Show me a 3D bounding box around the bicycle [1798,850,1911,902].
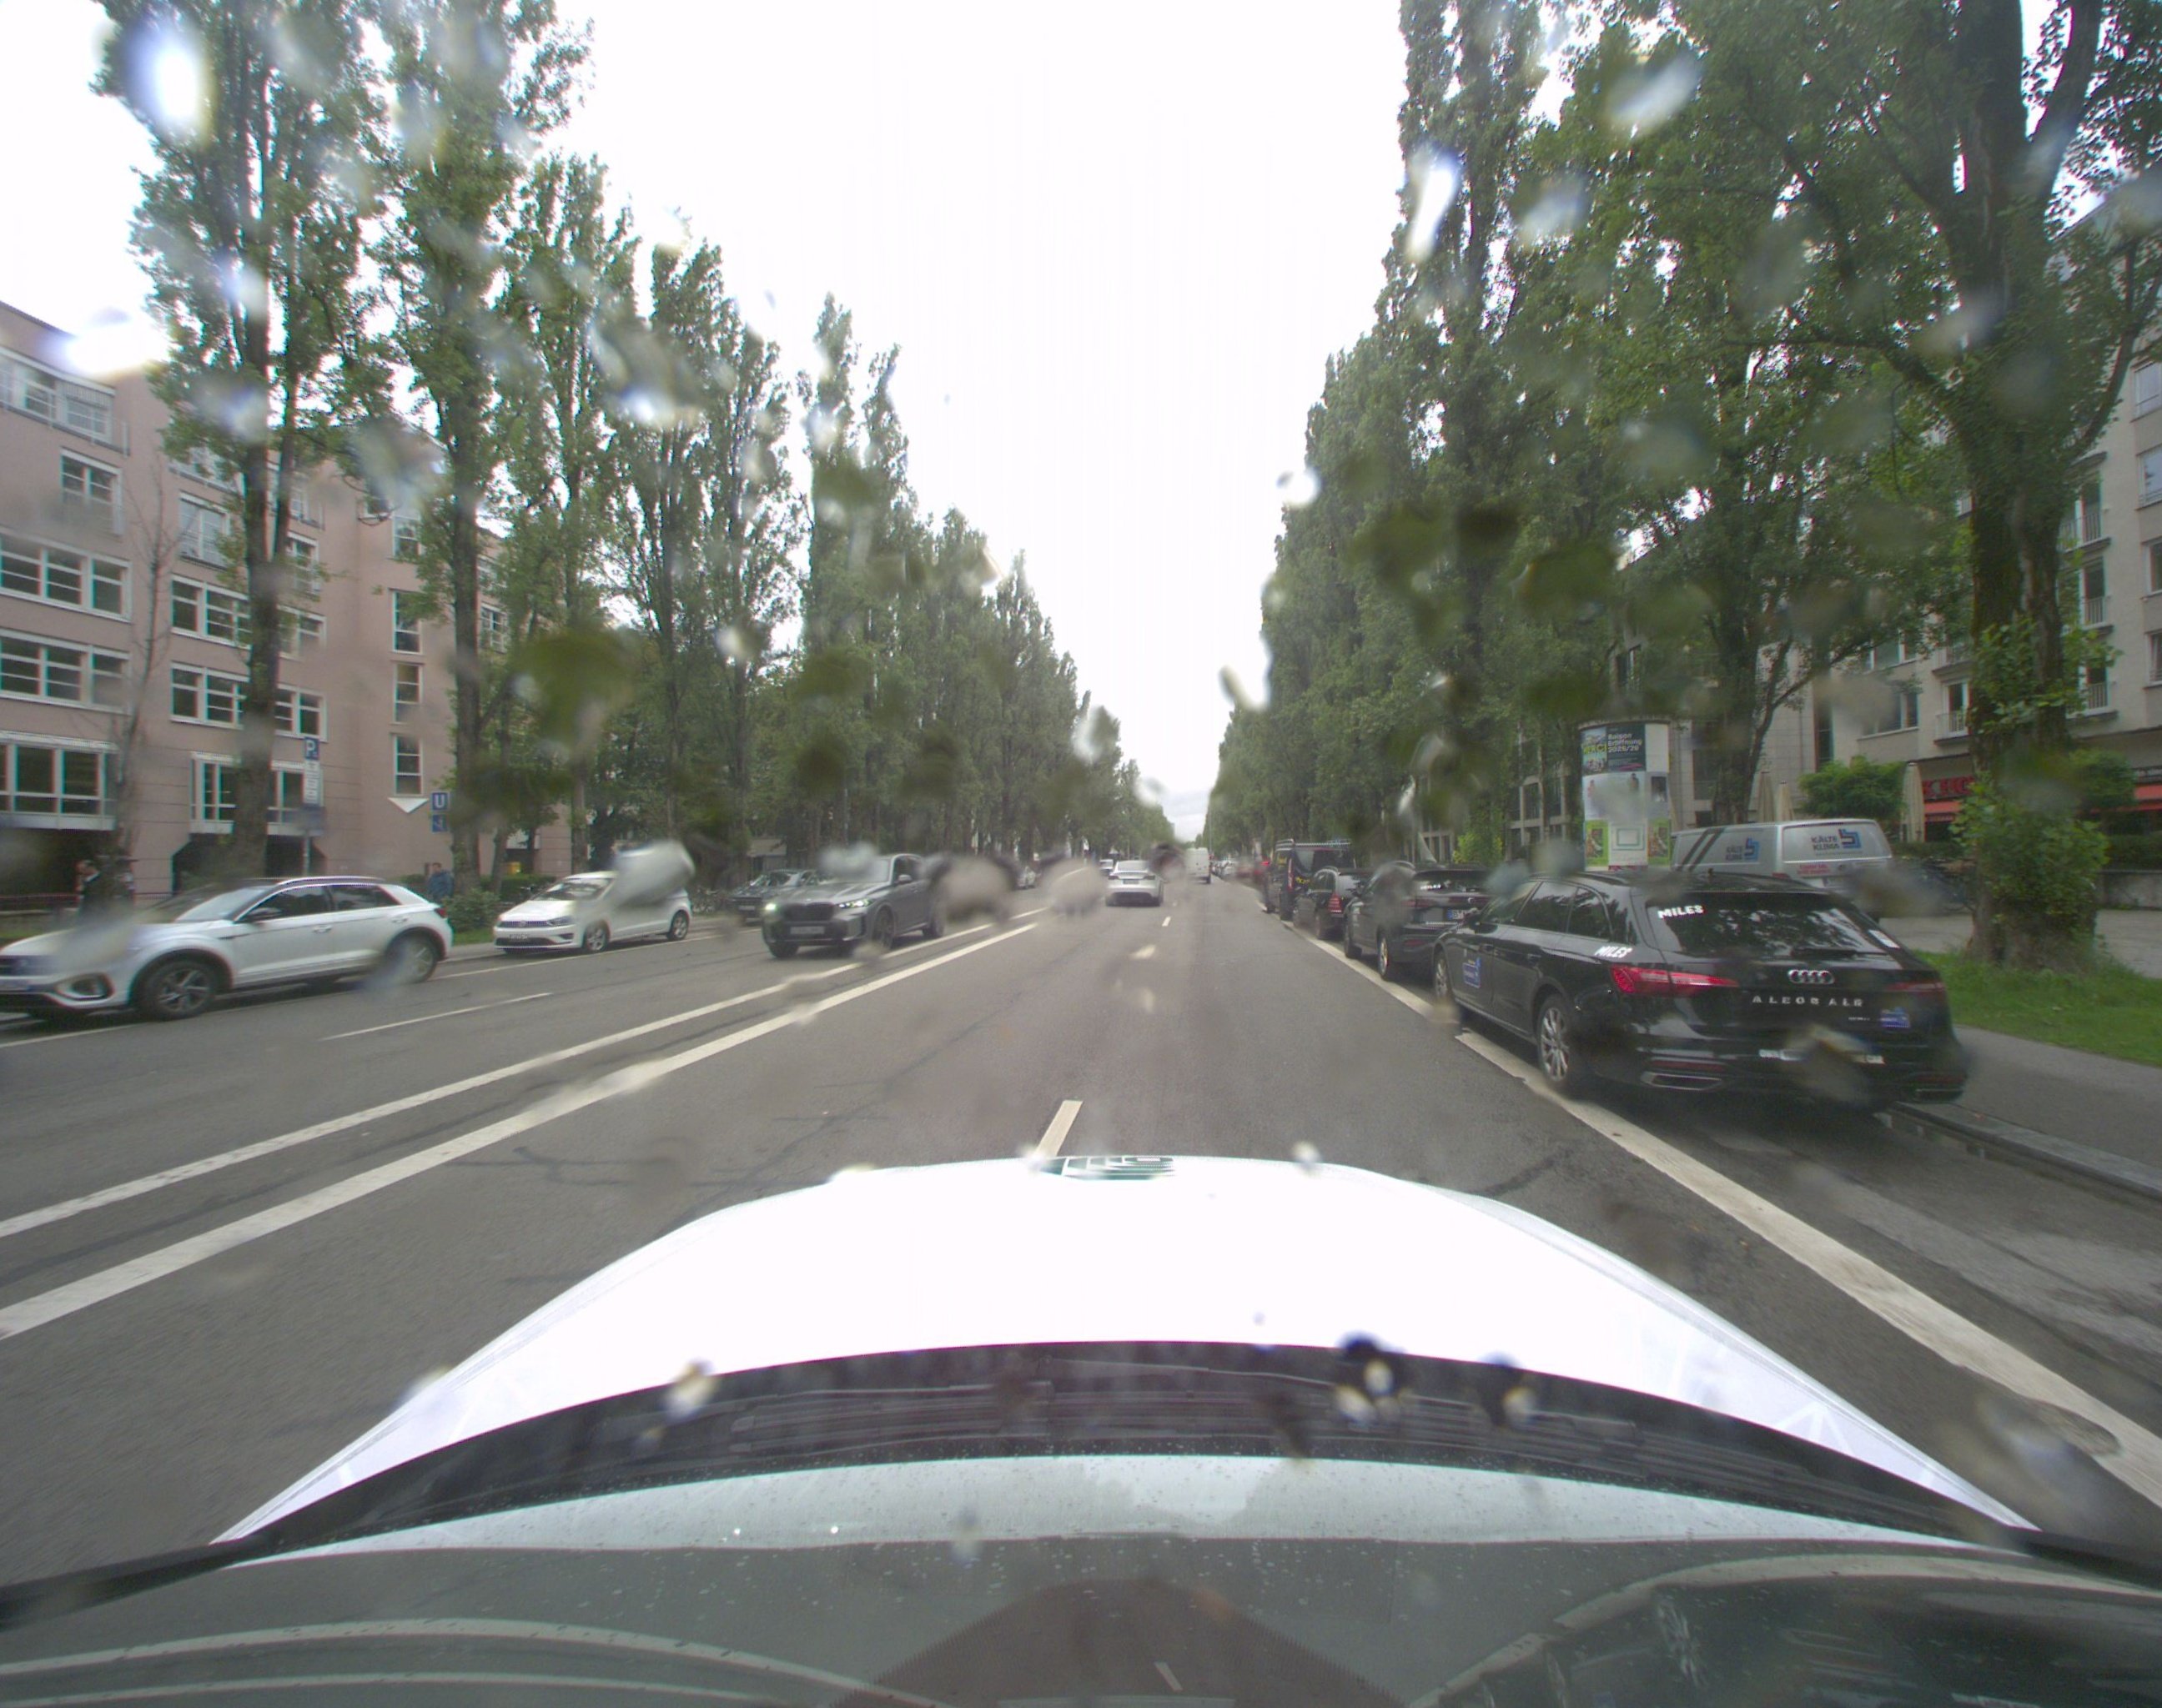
[{"bbox_3d":[17.542,0.495,18.508,1.852,1.160,0.589,-1,0,9],"label":"bicycle"}]

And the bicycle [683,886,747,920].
[{"bbox_3d":[-12.738,1.696,28.360,1.971,1.124,0.677,-1,-1,8],"label":"bicycle"}]

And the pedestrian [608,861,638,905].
[{"bbox_3d":[-17.946,1.120,31.915,0.703,1.714,0.733,-1,-1,8],"label":"pedestrian"}]

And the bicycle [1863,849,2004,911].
[{"bbox_3d":[17.478,0.531,16.735,2.013,1.160,0.589,-3,-2,9],"label":"bicycle"}]

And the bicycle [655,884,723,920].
[{"bbox_3d":[-12.908,1.572,26.831,1.971,1.124,0.677,-1,-1,8],"label":"bicycle"}]

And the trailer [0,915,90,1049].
[{"bbox_3d":[-11.627,1.223,5.377,2.383,1.199,6.053,-1,-1,9],"label":"trailer"}]

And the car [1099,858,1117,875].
[{"bbox_3d":[3.743,1.731,112.270,1.982,2.119,5.011,-1,0,8],"label":"car"}]

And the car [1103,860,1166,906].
[{"bbox_3d":[2.058,1.005,30.022,1.983,1.575,4.648,0,0,7],"label":"car"}]

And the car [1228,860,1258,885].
[{"bbox_3d":[11.224,1.280,56.700,1.734,1.643,3.957,0,-1,6],"label":"car"}]

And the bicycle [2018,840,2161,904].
[{"bbox_3d":[19.728,0.336,15.891,0.585,1.160,1.865,-1,0,-7],"label":"bicycle"}]

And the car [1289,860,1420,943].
[{"bbox_3d":[5.579,0.897,17.136,1.734,1.527,4.241,0,-1,6],"label":"car"}]

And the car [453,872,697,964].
[{"bbox_3d":[-10.039,1.187,16.655,1.984,1.542,4.331,-1,-1,5],"label":"car"}]

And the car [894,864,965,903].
[{"bbox_3d":[-6.716,1.271,36.617,1.984,1.606,4.359,-1,-1,5],"label":"car"}]

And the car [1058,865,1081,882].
[{"bbox_3d":[-1.128,1.922,80.800,1.752,1.579,3.468,-1,0,8],"label":"car"}]

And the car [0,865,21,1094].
[{"bbox_3d":[-9.097,0.940,3.837,1.982,1.642,4.561,-2,0,8],"label":"car"}]

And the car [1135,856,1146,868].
[{"bbox_3d":[14.567,1.867,199.752,2.181,2.718,7.016,-1,1,8],"label":"car"}]

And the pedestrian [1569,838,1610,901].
[{"bbox_3d":[14.774,0.450,23.680,0.743,1.803,0.846,-1,-1,12],"label":"pedestrian"}]

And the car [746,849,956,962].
[{"bbox_3d":[-4.016,0.841,15.249,1.982,1.716,4.769,-3,-1,8],"label":"car"}]

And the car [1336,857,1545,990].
[{"bbox_3d":[4.776,0.820,11.414,1.732,1.527,3.917,0,-1,9],"label":"car"}]

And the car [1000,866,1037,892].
[{"bbox_3d":[-4.251,1.679,56.035,1.752,1.579,3.981,-1,1,8],"label":"car"}]

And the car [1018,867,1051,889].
[{"bbox_3d":[-3.492,1.788,61.767,1.752,1.579,3.981,-1,-1,8],"label":"car"}]

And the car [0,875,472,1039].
[{"bbox_3d":[-10.550,1.129,10.460,1.789,1.542,4.246,-3,0,10],"label":"car"}]

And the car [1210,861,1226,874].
[{"bbox_3d":[17.441,1.736,103.737,1.734,1.643,3.957,0,-1,6],"label":"car"}]

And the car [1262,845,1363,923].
[{"bbox_3d":[6.347,0.776,22.887,1.901,1.924,5.048,0,-1,6],"label":"car"}]

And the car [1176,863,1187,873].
[{"bbox_3d":[17.540,2.477,142.373,1.734,1.643,3.957,0,-1,6],"label":"car"}]

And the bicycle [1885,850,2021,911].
[{"bbox_3d":[17.199,0.517,16.101,1.852,1.160,0.589,-1,-1,9],"label":"bicycle"}]

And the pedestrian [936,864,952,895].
[{"bbox_3d":[-7.344,1.348,43.705,0.665,1.657,0.601,-1,-1,2],"label":"pedestrian"}]

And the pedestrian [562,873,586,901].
[{"bbox_3d":[-30.361,1.985,48.799,0.810,1.662,0.899,-1,-1,8],"label":"pedestrian"}]

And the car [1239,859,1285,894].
[{"bbox_3d":[8.514,1.044,38.614,1.734,1.591,3.957,0,-1,6],"label":"car"}]

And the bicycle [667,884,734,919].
[{"bbox_3d":[-12.904,1.598,27.633,1.971,1.124,0.677,-1,-1,8],"label":"bicycle"}]

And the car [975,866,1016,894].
[{"bbox_3d":[-5.245,1.579,50.405,1.934,1.579,3.613,-1,0,3],"label":"car"}]

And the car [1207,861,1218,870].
[{"bbox_3d":[22.518,1.984,139.722,1.734,1.643,3.957,0,-1,6],"label":"car"}]

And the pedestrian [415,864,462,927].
[{"bbox_3d":[-17.807,1.145,22.571,0.703,1.714,0.733,-1,-1,8],"label":"pedestrian"}]

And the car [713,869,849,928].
[{"bbox_3d":[-8.903,1.274,24.628,1.982,1.542,4.335,-1,-1,9],"label":"car"}]

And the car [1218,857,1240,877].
[{"bbox_3d":[13.933,1.239,76.781,1.734,1.787,3.957,0,-1,6],"label":"car"}]

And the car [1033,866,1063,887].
[{"bbox_3d":[-2.666,1.827,67.320,1.752,1.579,3.981,-1,1,8],"label":"car"}]

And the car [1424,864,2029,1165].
[{"bbox_3d":[4.065,0.796,6.231,1.740,1.427,4.460,0,-1,10],"label":"car"}]

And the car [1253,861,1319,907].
[{"bbox_3d":[7.189,1.009,28.844,1.734,1.527,3.957,0,-1,6],"label":"car"}]

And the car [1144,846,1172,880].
[{"bbox_3d":[6.165,0.708,64.695,2.064,2.556,5.943,0,0,7],"label":"car"}]

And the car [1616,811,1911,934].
[{"bbox_3d":[12.410,0.331,15.400,1.798,1.896,5.215,-1,-1,9],"label":"car"}]

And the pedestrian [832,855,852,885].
[{"bbox_3d":[-13.830,0.930,47.126,0.810,1.662,0.899,-1,-1,8],"label":"pedestrian"}]

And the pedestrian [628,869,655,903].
[{"bbox_3d":[-22.203,1.602,41.143,0.810,1.662,0.899,-1,-1,8],"label":"pedestrian"}]

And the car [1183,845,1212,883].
[{"bbox_3d":[8.784,0.725,61.585,2.028,2.652,6.054,0,0,8],"label":"car"}]

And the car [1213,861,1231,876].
[{"bbox_3d":[15.984,1.647,92.343,1.734,1.643,3.957,0,-1,6],"label":"car"}]

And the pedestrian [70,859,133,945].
[{"bbox_3d":[-18.733,0.897,15.577,0.552,1.604,0.662,-2,-1,28],"label":"pedestrian"}]

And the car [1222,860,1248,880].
[{"bbox_3d":[12.237,1.292,64.809,1.734,1.546,3.957,0,-1,6],"label":"car"}]
